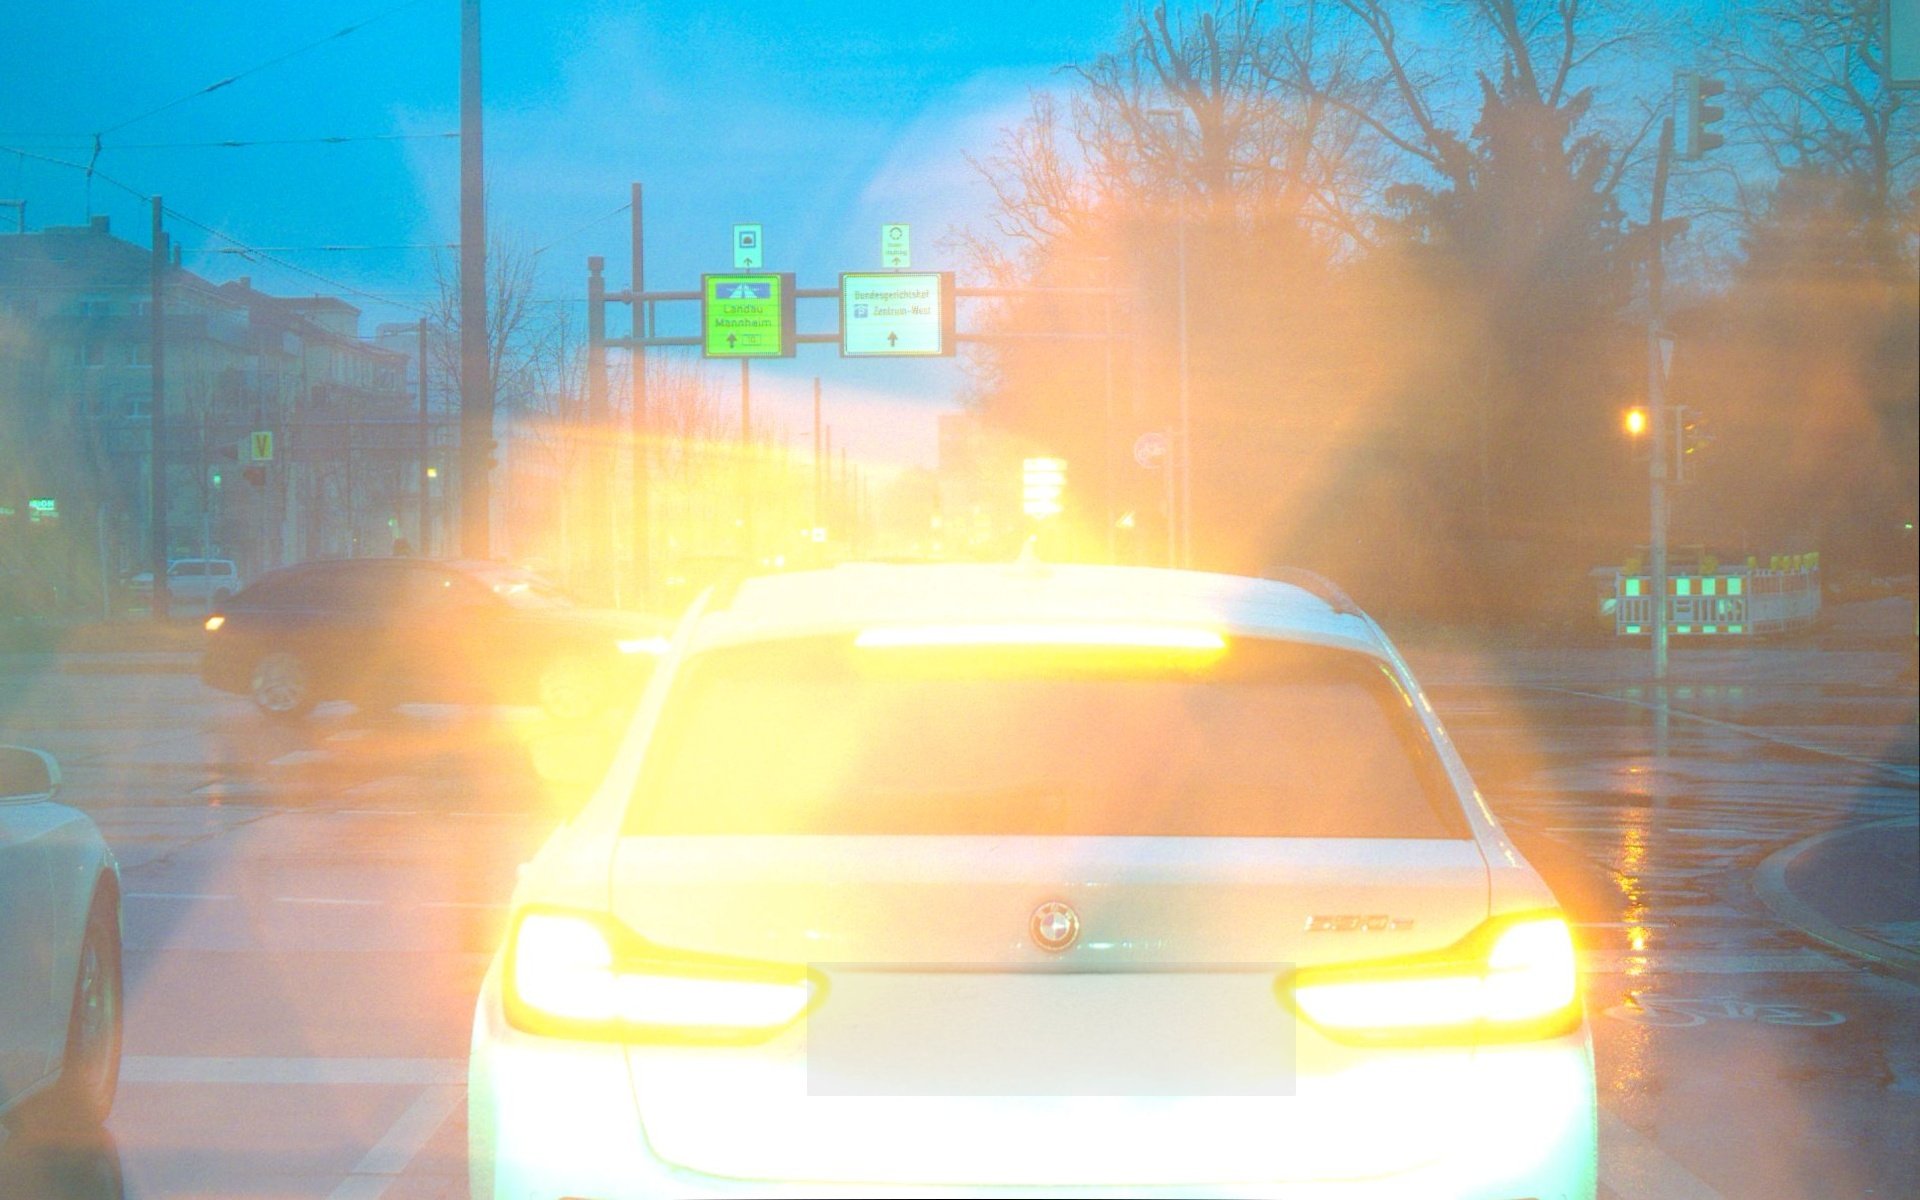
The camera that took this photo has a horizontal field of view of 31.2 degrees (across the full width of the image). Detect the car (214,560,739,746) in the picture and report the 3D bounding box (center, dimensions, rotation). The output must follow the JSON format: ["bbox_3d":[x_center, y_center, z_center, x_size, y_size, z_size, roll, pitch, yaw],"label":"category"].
[{"bbox_3d":[-4.338,0.453,30.999,4.316,1.525,1.761,1,0,16],"label":"car"}]

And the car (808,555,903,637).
[{"bbox_3d":[-2.111,-0.084,70.405,1.843,1.603,3.945,1,0,-1],"label":"car"}]

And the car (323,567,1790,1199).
[{"bbox_3d":[0.042,0.684,6.856,1.993,1.451,4.369,0,1,-2],"label":"car"}]

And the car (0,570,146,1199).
[{"bbox_3d":[-3.104,0.682,7.075,1.993,1.451,4.369,0,1,-2],"label":"car"}]

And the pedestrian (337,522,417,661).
[{"bbox_3d":[-7.905,-0.108,46.600,0.902,1.850,0.812,1,0,-20],"label":"pedestrian"}]

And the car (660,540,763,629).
[{"bbox_3d":[-4.786,-0.295,65.748,1.842,1.603,3.945,1,0,-6],"label":"car"}]
